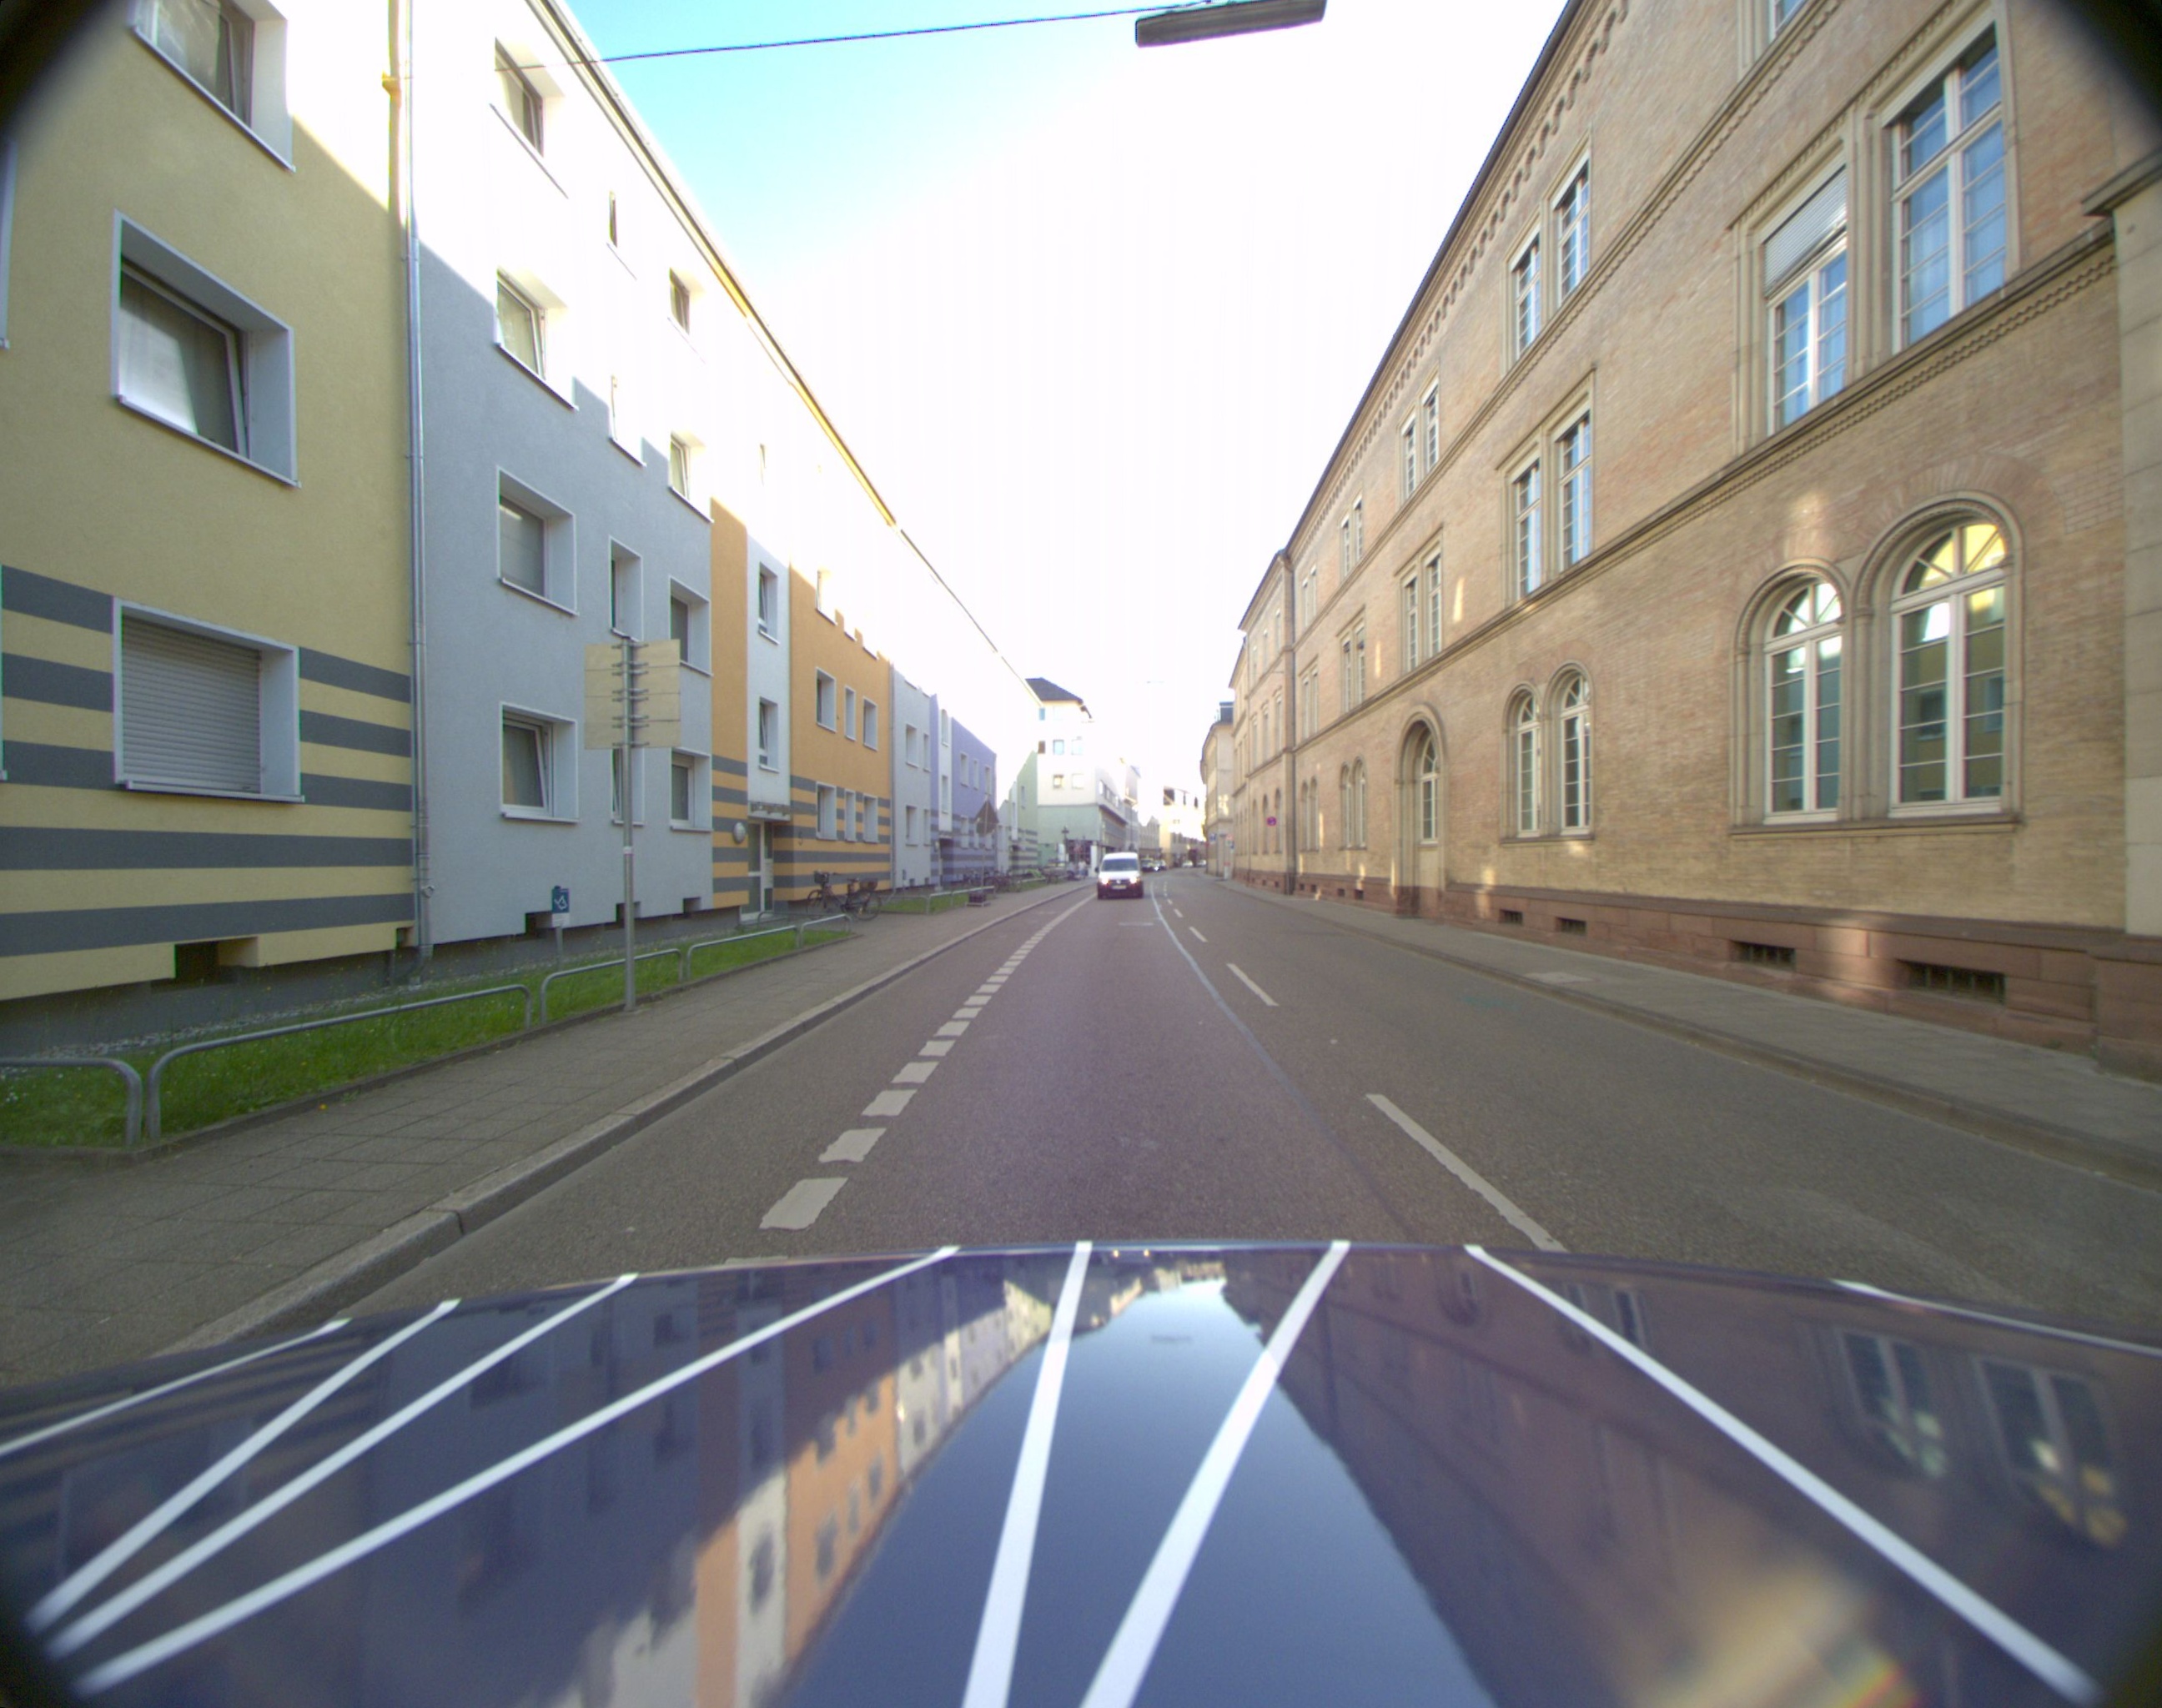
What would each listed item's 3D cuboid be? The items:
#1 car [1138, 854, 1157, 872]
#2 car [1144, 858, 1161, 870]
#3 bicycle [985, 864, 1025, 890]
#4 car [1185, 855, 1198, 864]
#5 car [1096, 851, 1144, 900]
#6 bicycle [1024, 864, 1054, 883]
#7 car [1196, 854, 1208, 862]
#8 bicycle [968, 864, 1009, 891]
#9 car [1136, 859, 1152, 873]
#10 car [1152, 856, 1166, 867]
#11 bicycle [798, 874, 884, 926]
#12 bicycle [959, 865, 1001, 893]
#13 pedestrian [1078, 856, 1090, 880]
[{"bbox_3d":[9.406,1.259,107.084,2.103,2.263,5.506,-2,1,11],"label":"car"},{"bbox_3d":[10.669,1.452,112.997,1.997,1.643,4.231,-2,1,10],"label":"car"},{"bbox_3d":[-3.374,1.012,33.674,1.676,1.145,0.484,0,0,4],"label":"bicycle"},{"bbox_3d":[22.097,1.105,152.019,1.996,1.643,4.233,-2,1,17],"label":"car"},{"bbox_3d":[1.618,0.780,30.939,1.769,1.761,5.332,-1,1,3],"label":"car"},{"bbox_3d":[-2.518,1.163,46.046,1.779,1.145,0.484,0,0,0],"label":"bicycle"},{"bbox_3d":[26.079,0.822,163.750,1.996,1.643,4.233,-2,1,17],"label":"car"},{"bbox_3d":[-4.033,1.028,33.129,1.676,1.145,0.484,0,0,4],"label":"bicycle"},{"bbox_3d":[8.371,1.617,100.949,1.998,1.643,4.230,-2,1,6],"label":"car"},{"bbox_3d":[12.638,1.210,122.696,1.997,1.643,4.231,-2,1,9],"label":"car"},{"bbox_3d":[-5.385,1.020,17.099,1.780,1.116,0.484,0,0,-5],"label":"bicycle"},{"bbox_3d":[-4.237,1.055,31.835,1.676,1.145,0.484,0,0,4],"label":"bicycle"},{"bbox_3d":[0.188,0.941,52.020,0.705,1.627,0.833,2,1,5],"label":"pedestrian"}]
